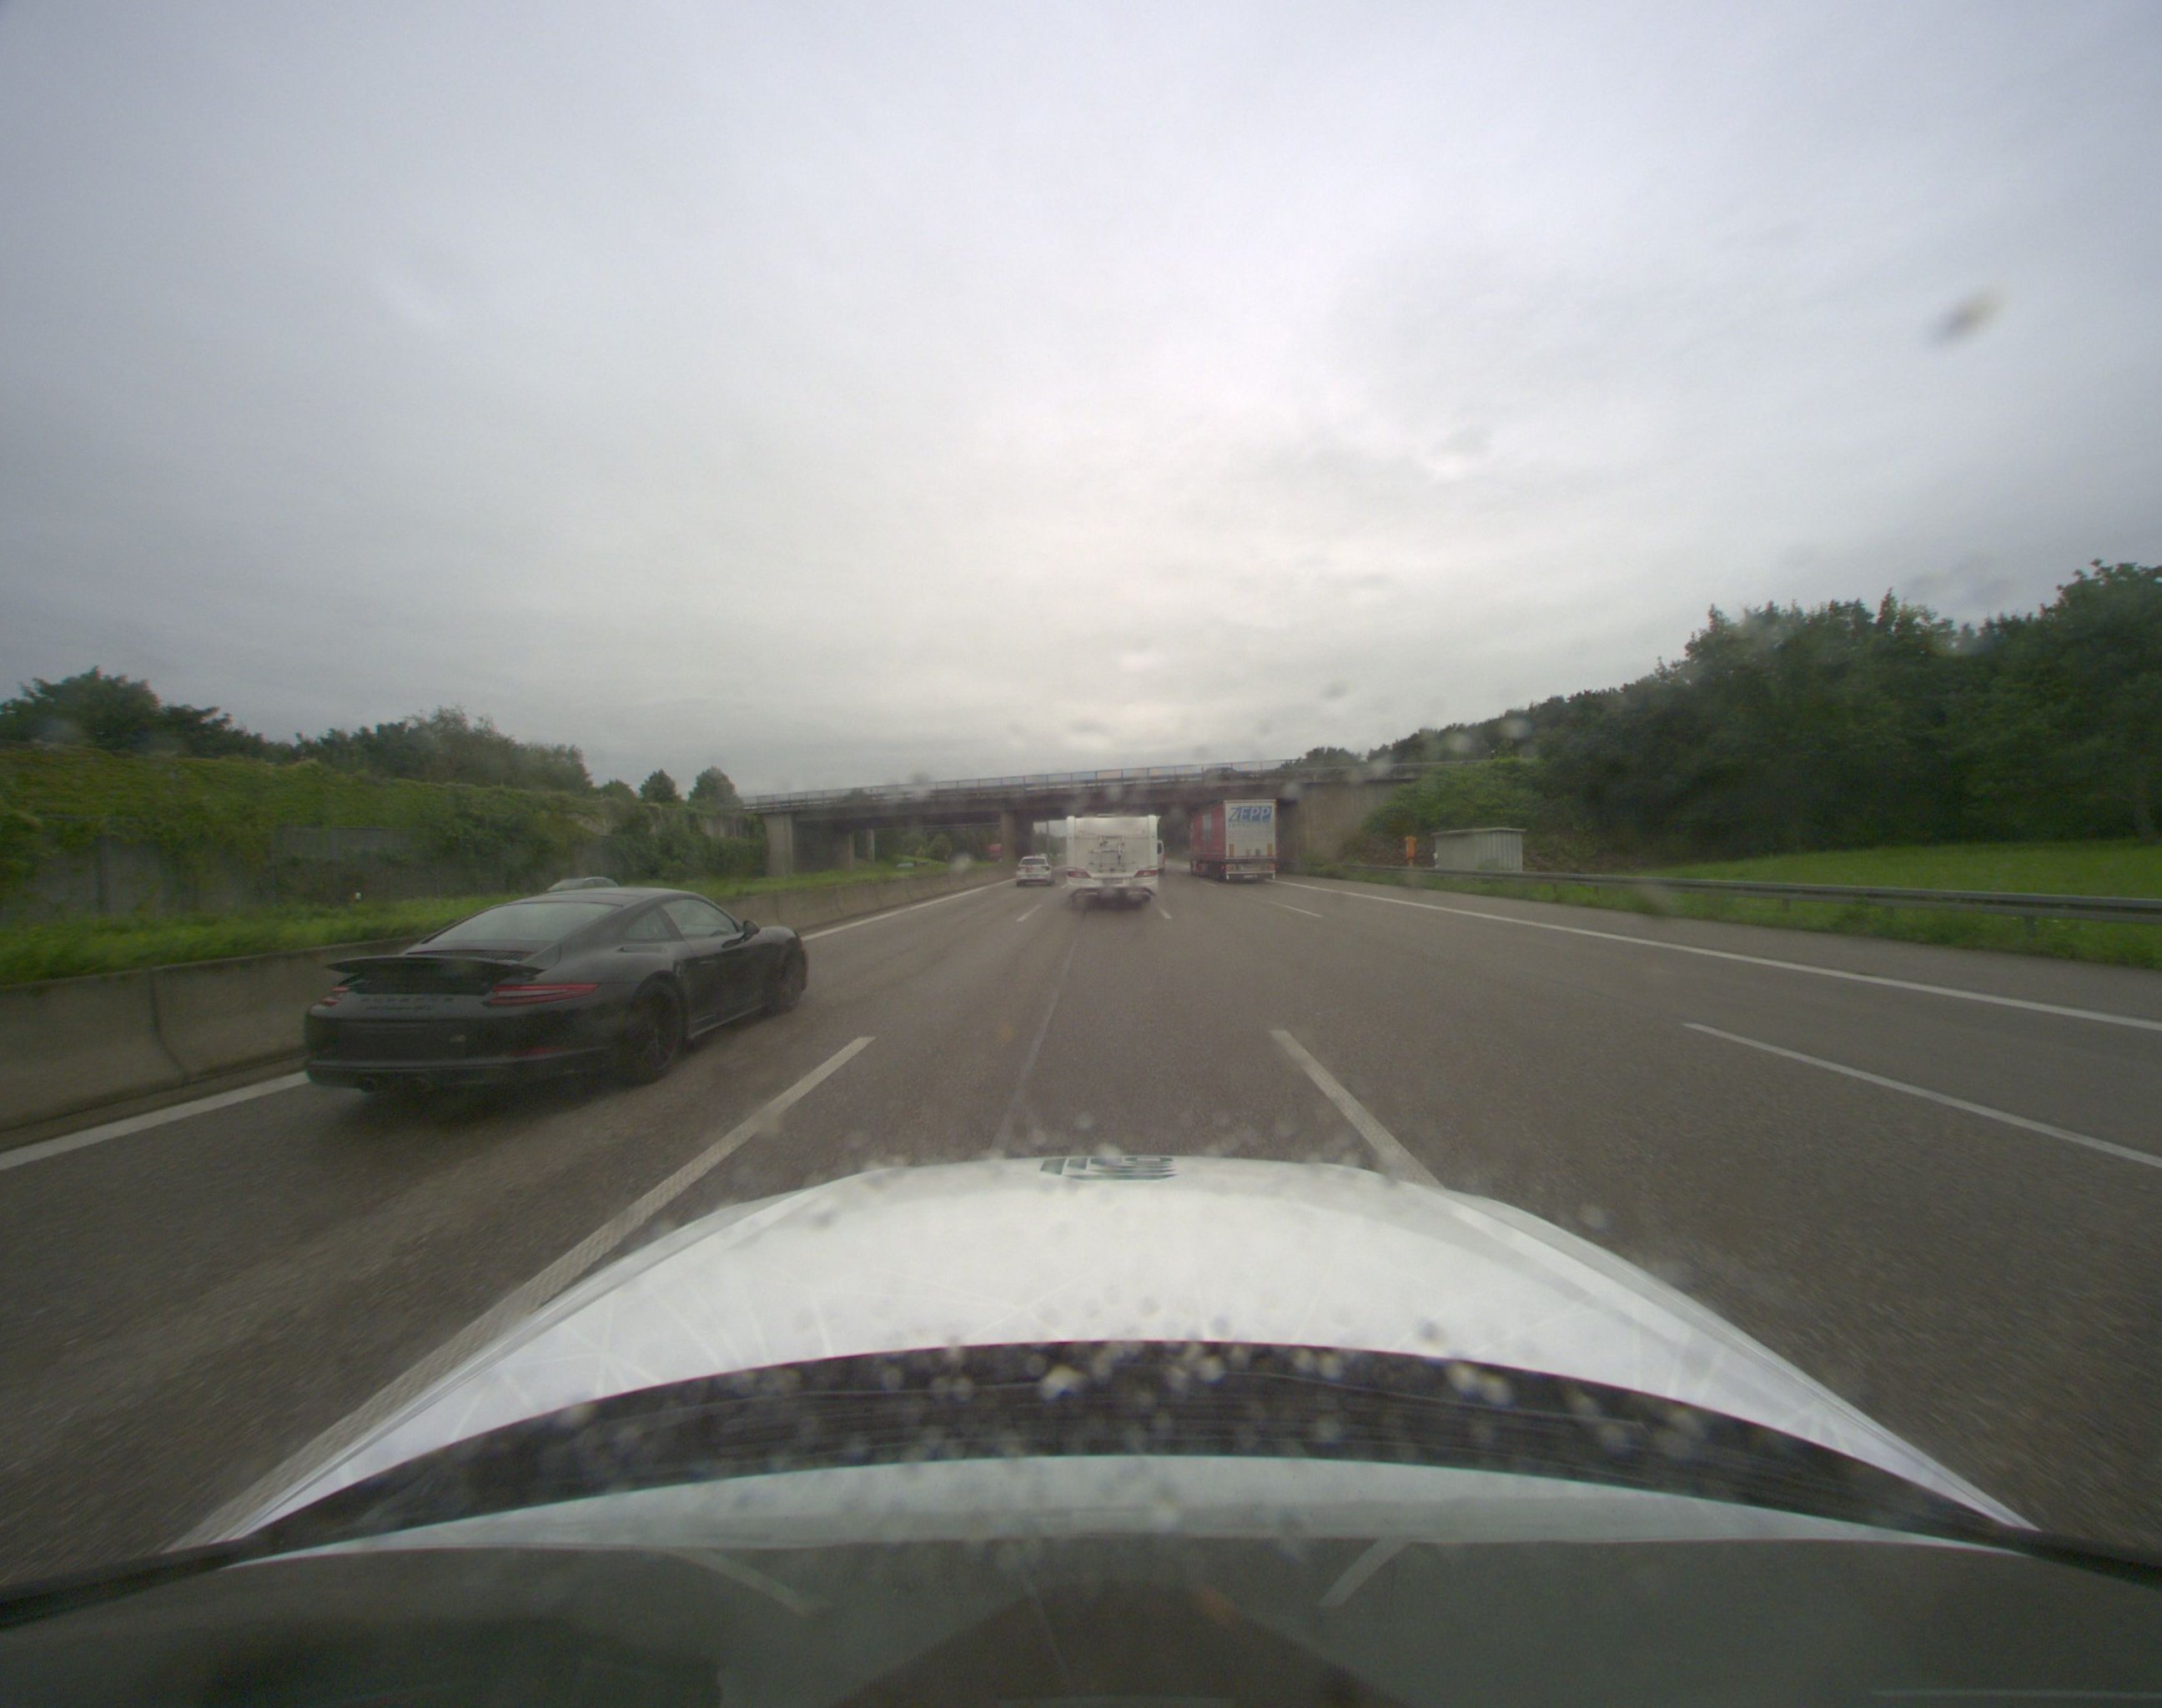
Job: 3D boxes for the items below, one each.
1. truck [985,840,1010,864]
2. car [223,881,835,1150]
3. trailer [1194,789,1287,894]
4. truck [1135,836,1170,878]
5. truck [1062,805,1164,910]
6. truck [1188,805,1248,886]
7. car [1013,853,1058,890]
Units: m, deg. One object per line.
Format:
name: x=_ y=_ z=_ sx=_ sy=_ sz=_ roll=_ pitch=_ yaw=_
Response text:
truck: x=-14.479 y=-0.383 z=141.747 sx=2.682 sy=3.851 sz=10.116 roll=-2 pitch=0 yaw=2
car: x=-3.669 y=0.940 z=6.779 sx=1.645 sy=1.272 sz=4.926 roll=0 pitch=0 yaw=1
trailer: x=8.302 y=-0.560 z=44.002 sx=3.088 sy=4.922 sz=11.795 roll=0 pitch=0 yaw=2
truck: x=4.873 y=0.216 z=56.361 sx=2.045 sy=2.770 sz=5.551 roll=0 pitch=0 yaw=2
truck: x=0.917 y=0.099 z=24.035 sx=2.651 sy=2.742 sz=5.079 roll=0 pitch=0 yaw=1
truck: x=8.584 y=-0.482 z=51.602 sx=3.036 sy=4.839 sz=5.853 roll=0 pitch=0 yaw=2
car: x=-2.192 y=0.823 z=40.351 sx=1.746 sy=1.618 sz=4.666 roll=-3 pitch=0 yaw=2
